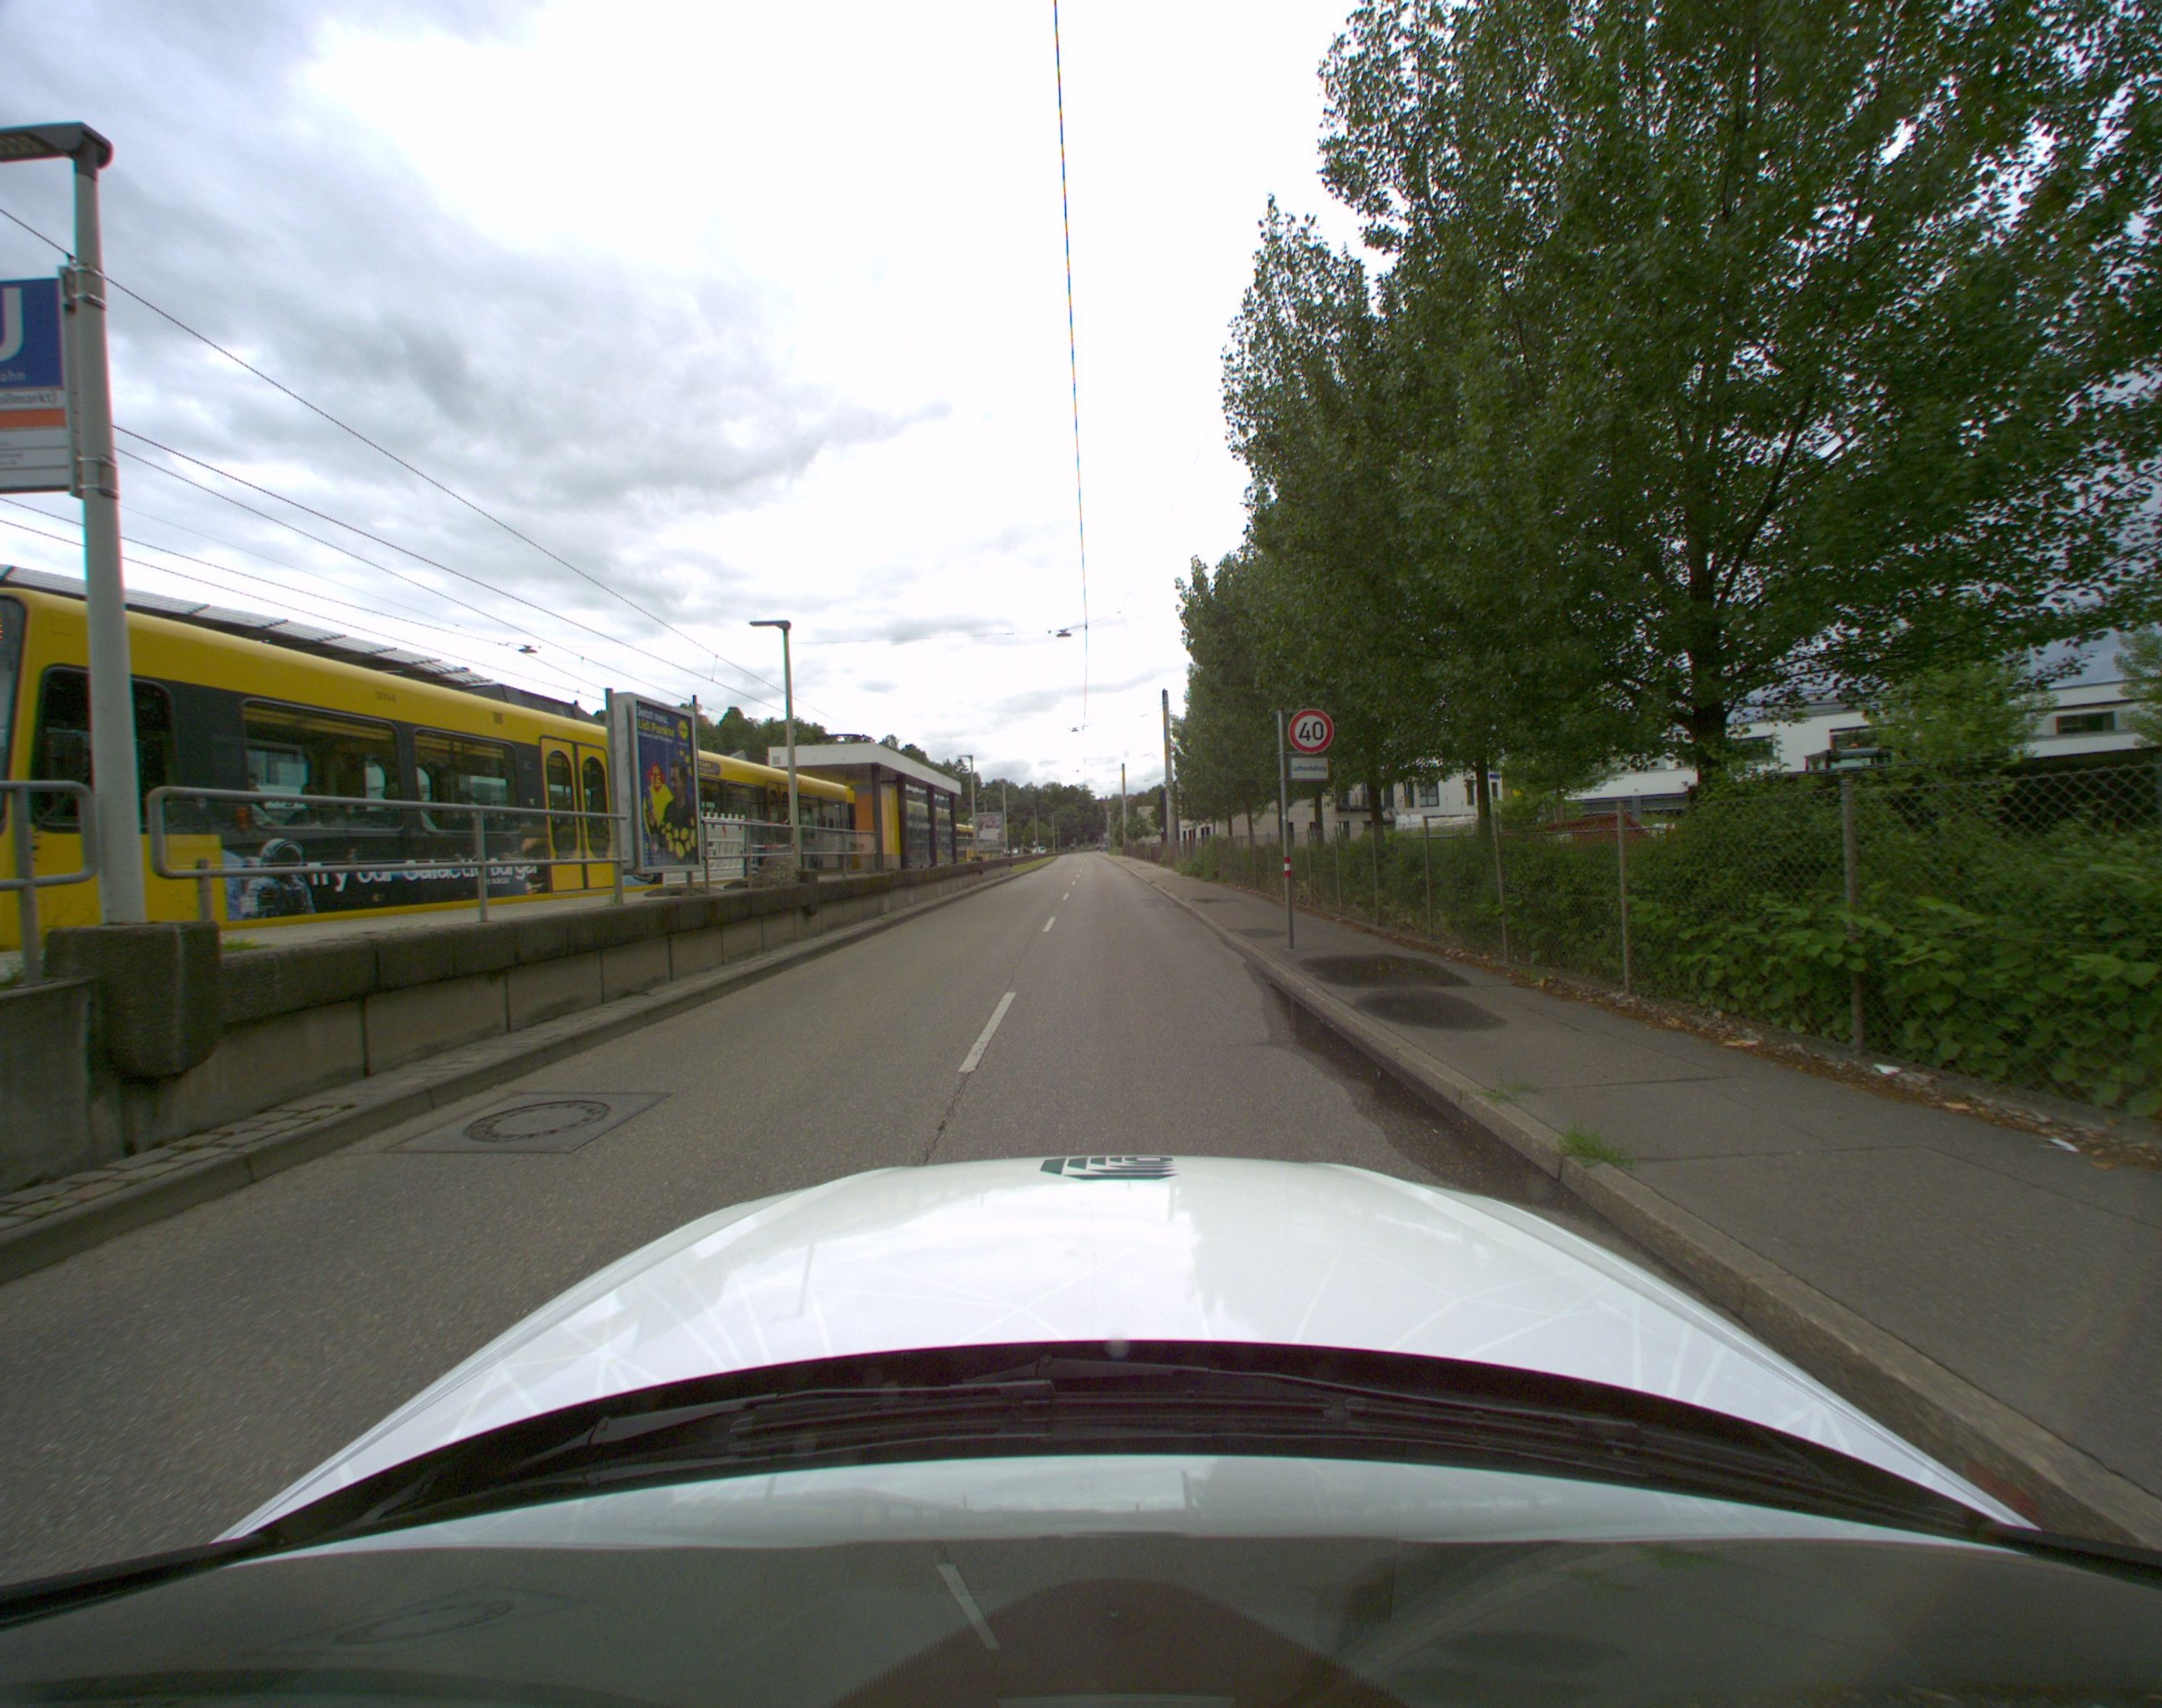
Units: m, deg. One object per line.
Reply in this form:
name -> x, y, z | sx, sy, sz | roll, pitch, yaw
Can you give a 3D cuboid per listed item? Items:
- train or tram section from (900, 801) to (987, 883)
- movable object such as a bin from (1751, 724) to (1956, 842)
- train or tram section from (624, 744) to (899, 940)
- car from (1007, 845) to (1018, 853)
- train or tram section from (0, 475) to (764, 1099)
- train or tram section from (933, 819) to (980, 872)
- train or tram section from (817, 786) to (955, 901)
train or tram section -> -7.651, -0.734, 46.829 | 2.962, 4.064, 10.197 | -3, 1, 1
movable object such as a bin -> 17.228, -1.440, 18.490 | 1.975, 2.014, 4.319 | -4, -4, 25
train or tram section -> -8.006, -0.367, 22.954 | 2.731, 3.966, 11.913 | -3, 1, 1
car -> -17.597, -1.219, 209.782 | 1.816, 1.706, 4.154 | -4, -3, 11
train or tram section -> -8.144, -0.494, 11.008 | 2.731, 3.966, 11.913 | -3, 1, 1
train or tram section -> -9.869, -0.629, 65.205 | 1.986, 3.795, 9.180 | -3, 0, 1
train or tram section -> -7.857, -0.487, 34.885 | 2.731, 3.966, 11.913 | -3, 1, 1
